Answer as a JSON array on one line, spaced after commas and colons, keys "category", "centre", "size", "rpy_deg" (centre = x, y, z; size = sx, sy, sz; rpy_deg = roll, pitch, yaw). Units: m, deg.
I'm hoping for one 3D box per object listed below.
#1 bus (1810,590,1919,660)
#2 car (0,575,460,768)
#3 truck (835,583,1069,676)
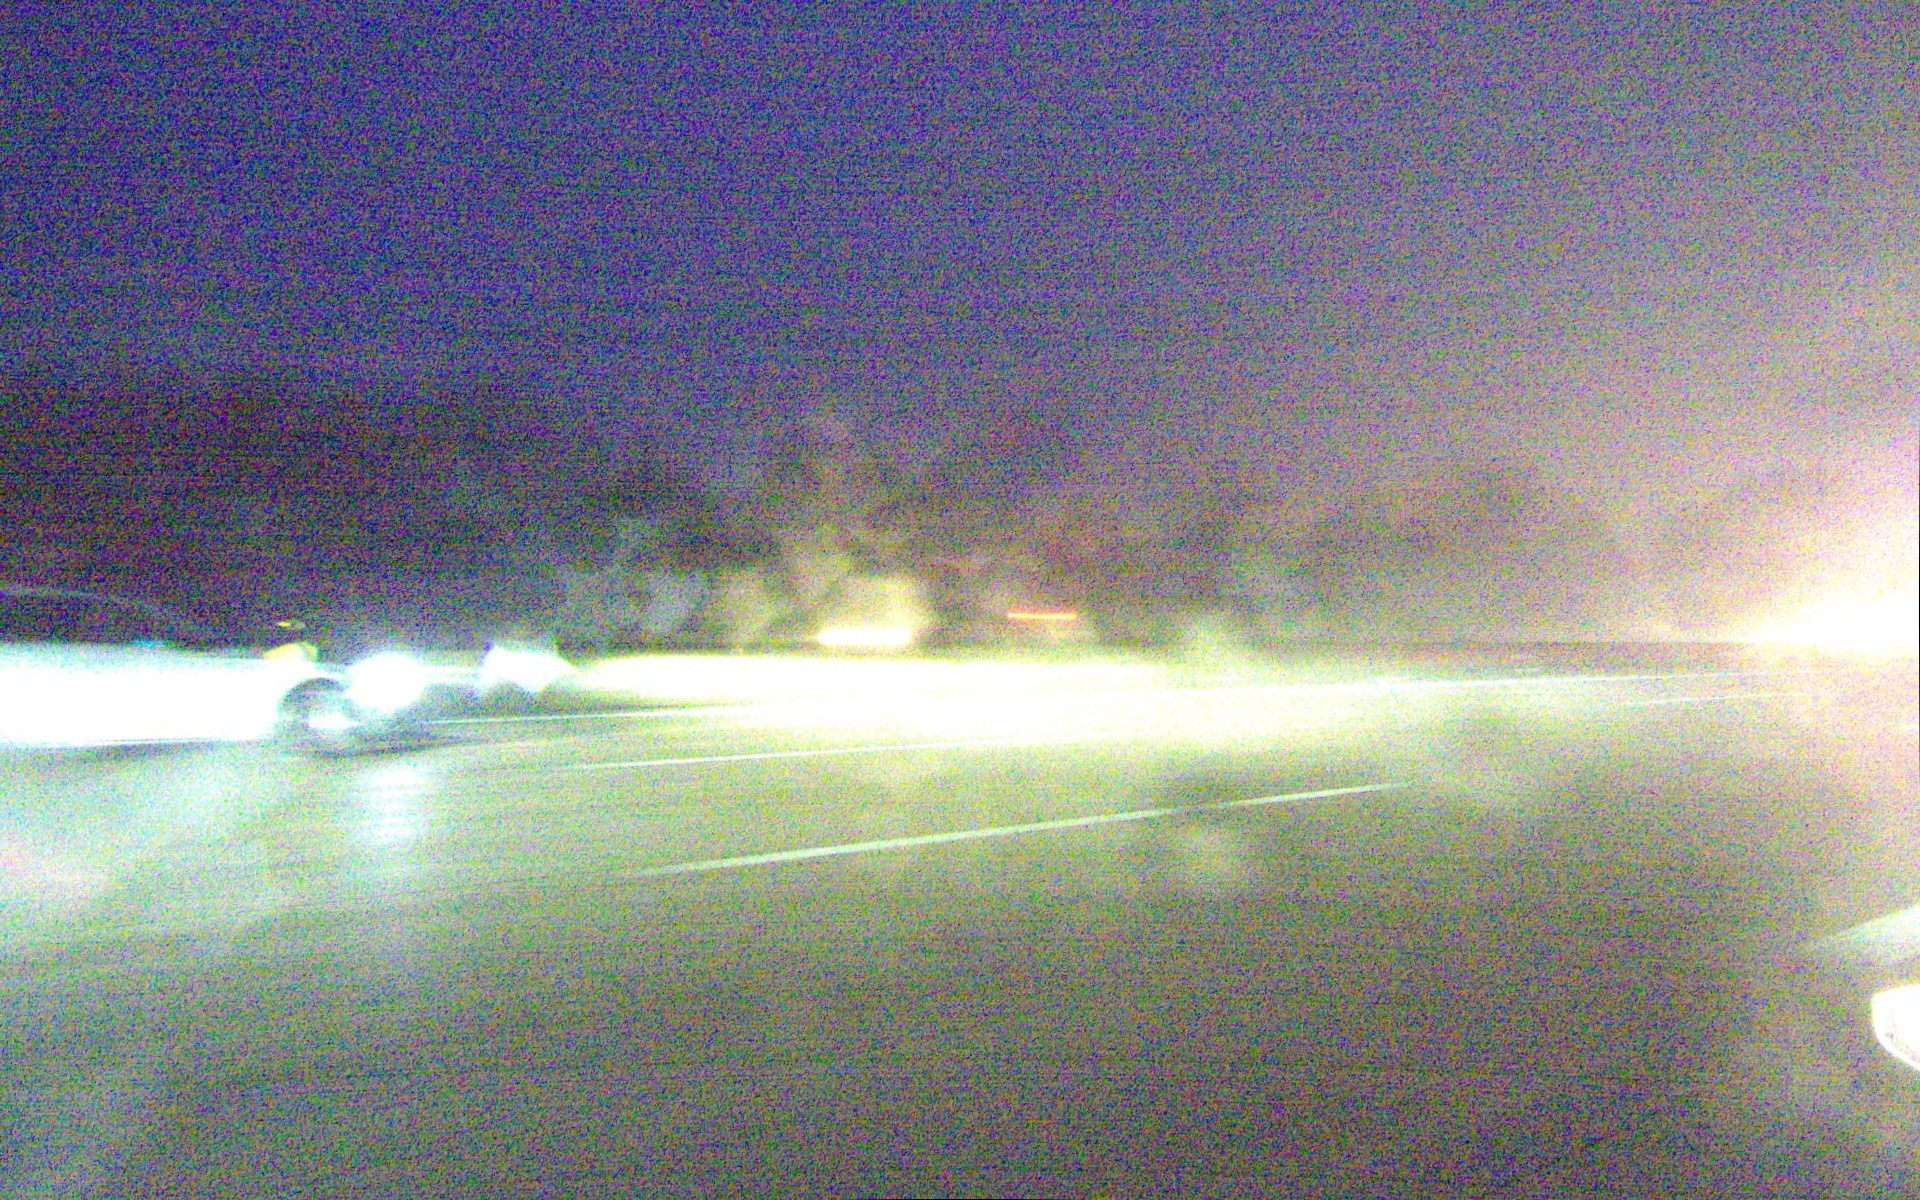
[{"category": "bus", "centre": [66.083, 1.850, 71.543], "size": [16.815, 4.550, 3.059], "rpy_deg": [2, 0, -31]}, {"category": "car", "centre": [-7.418, 0.566, 9.019], "size": [5.106, 1.496, 1.983], "rpy_deg": [2, 0, -31]}, {"category": "truck", "centre": [-0.126, 0.819, 27.945], "size": [6.365, 2.378, 1.983], "rpy_deg": [2, 0, -31]}]
